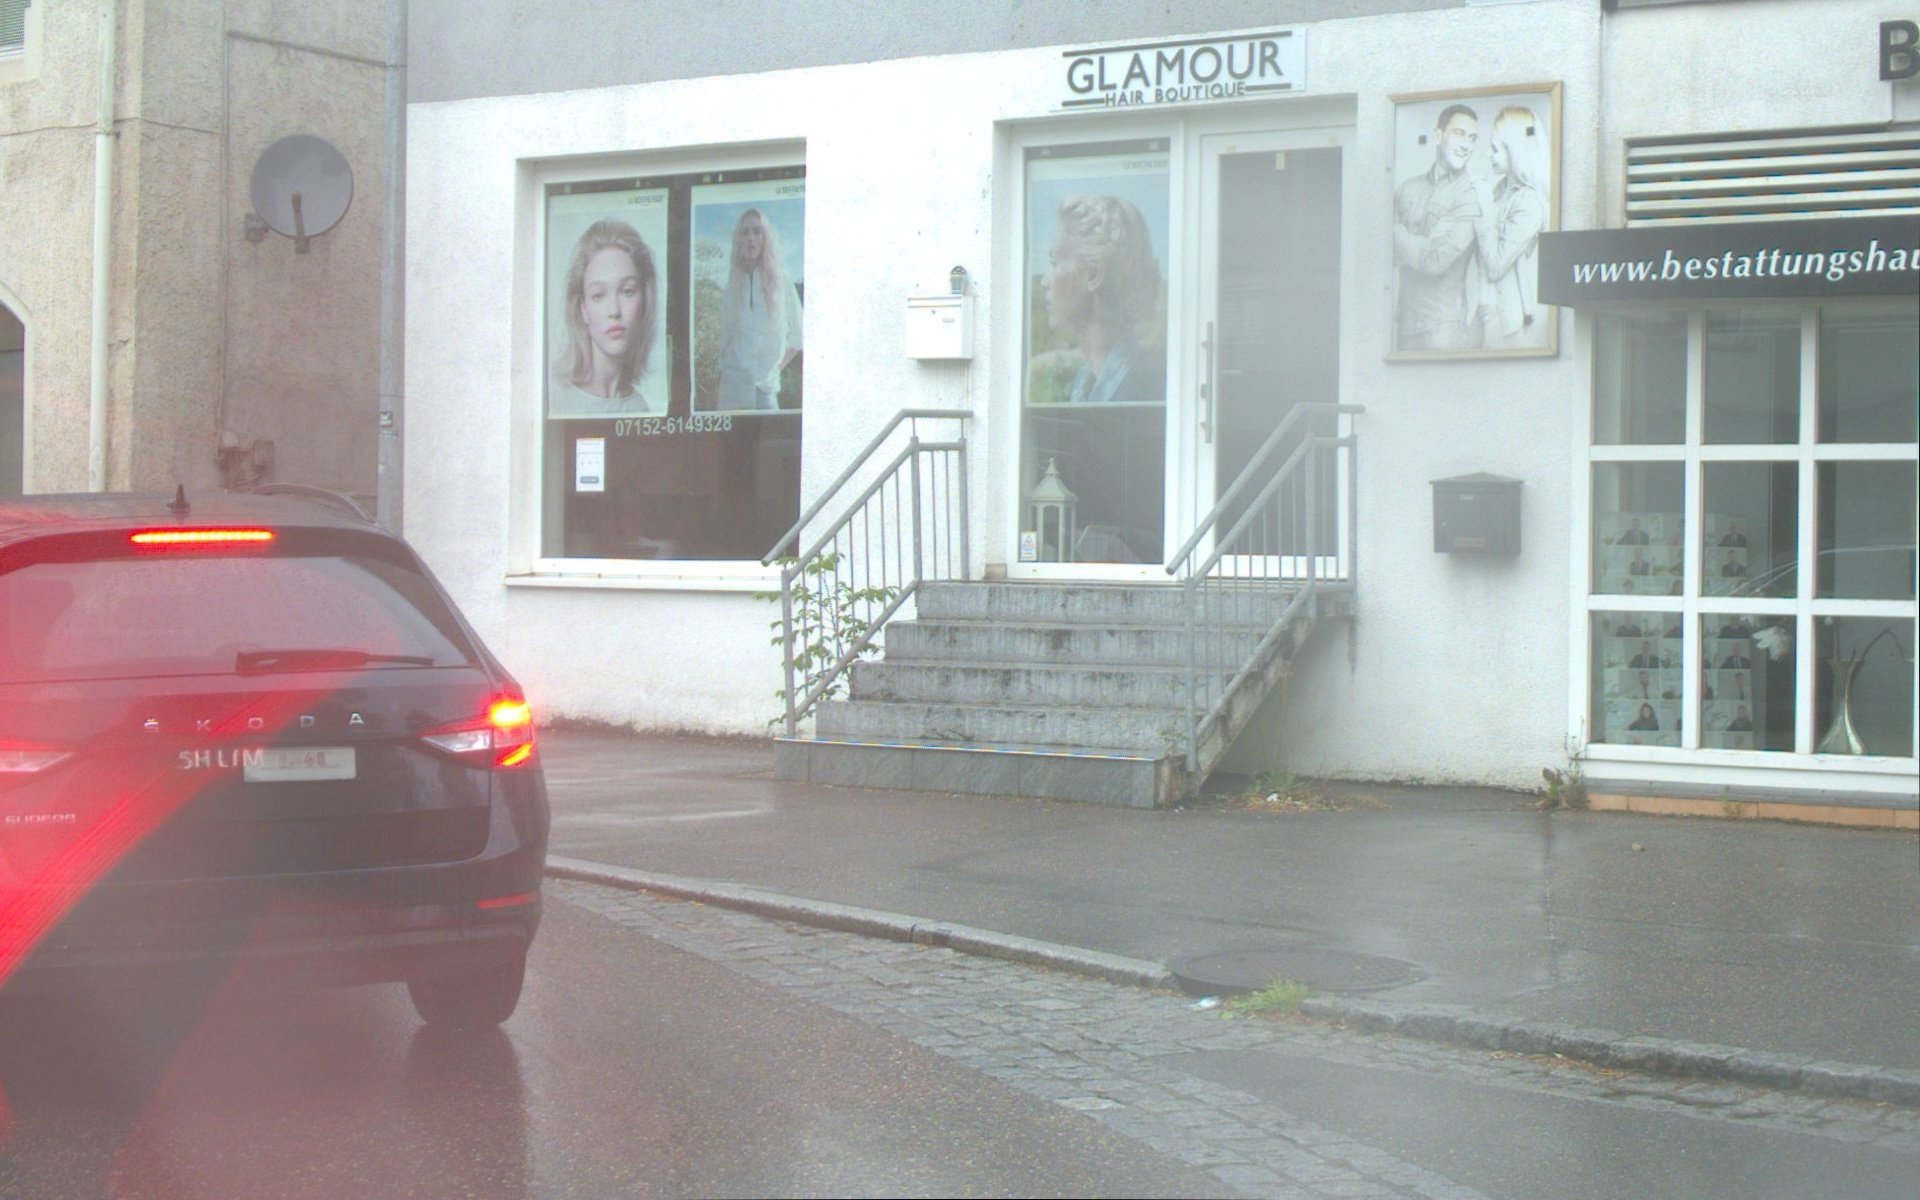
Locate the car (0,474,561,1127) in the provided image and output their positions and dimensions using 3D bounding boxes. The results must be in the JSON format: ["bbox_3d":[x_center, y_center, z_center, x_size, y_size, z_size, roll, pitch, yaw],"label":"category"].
[{"bbox_3d":[-2.597,0.385,10.019,1.732,1.445,4.243,-1,3,-23],"label":"car"}]
